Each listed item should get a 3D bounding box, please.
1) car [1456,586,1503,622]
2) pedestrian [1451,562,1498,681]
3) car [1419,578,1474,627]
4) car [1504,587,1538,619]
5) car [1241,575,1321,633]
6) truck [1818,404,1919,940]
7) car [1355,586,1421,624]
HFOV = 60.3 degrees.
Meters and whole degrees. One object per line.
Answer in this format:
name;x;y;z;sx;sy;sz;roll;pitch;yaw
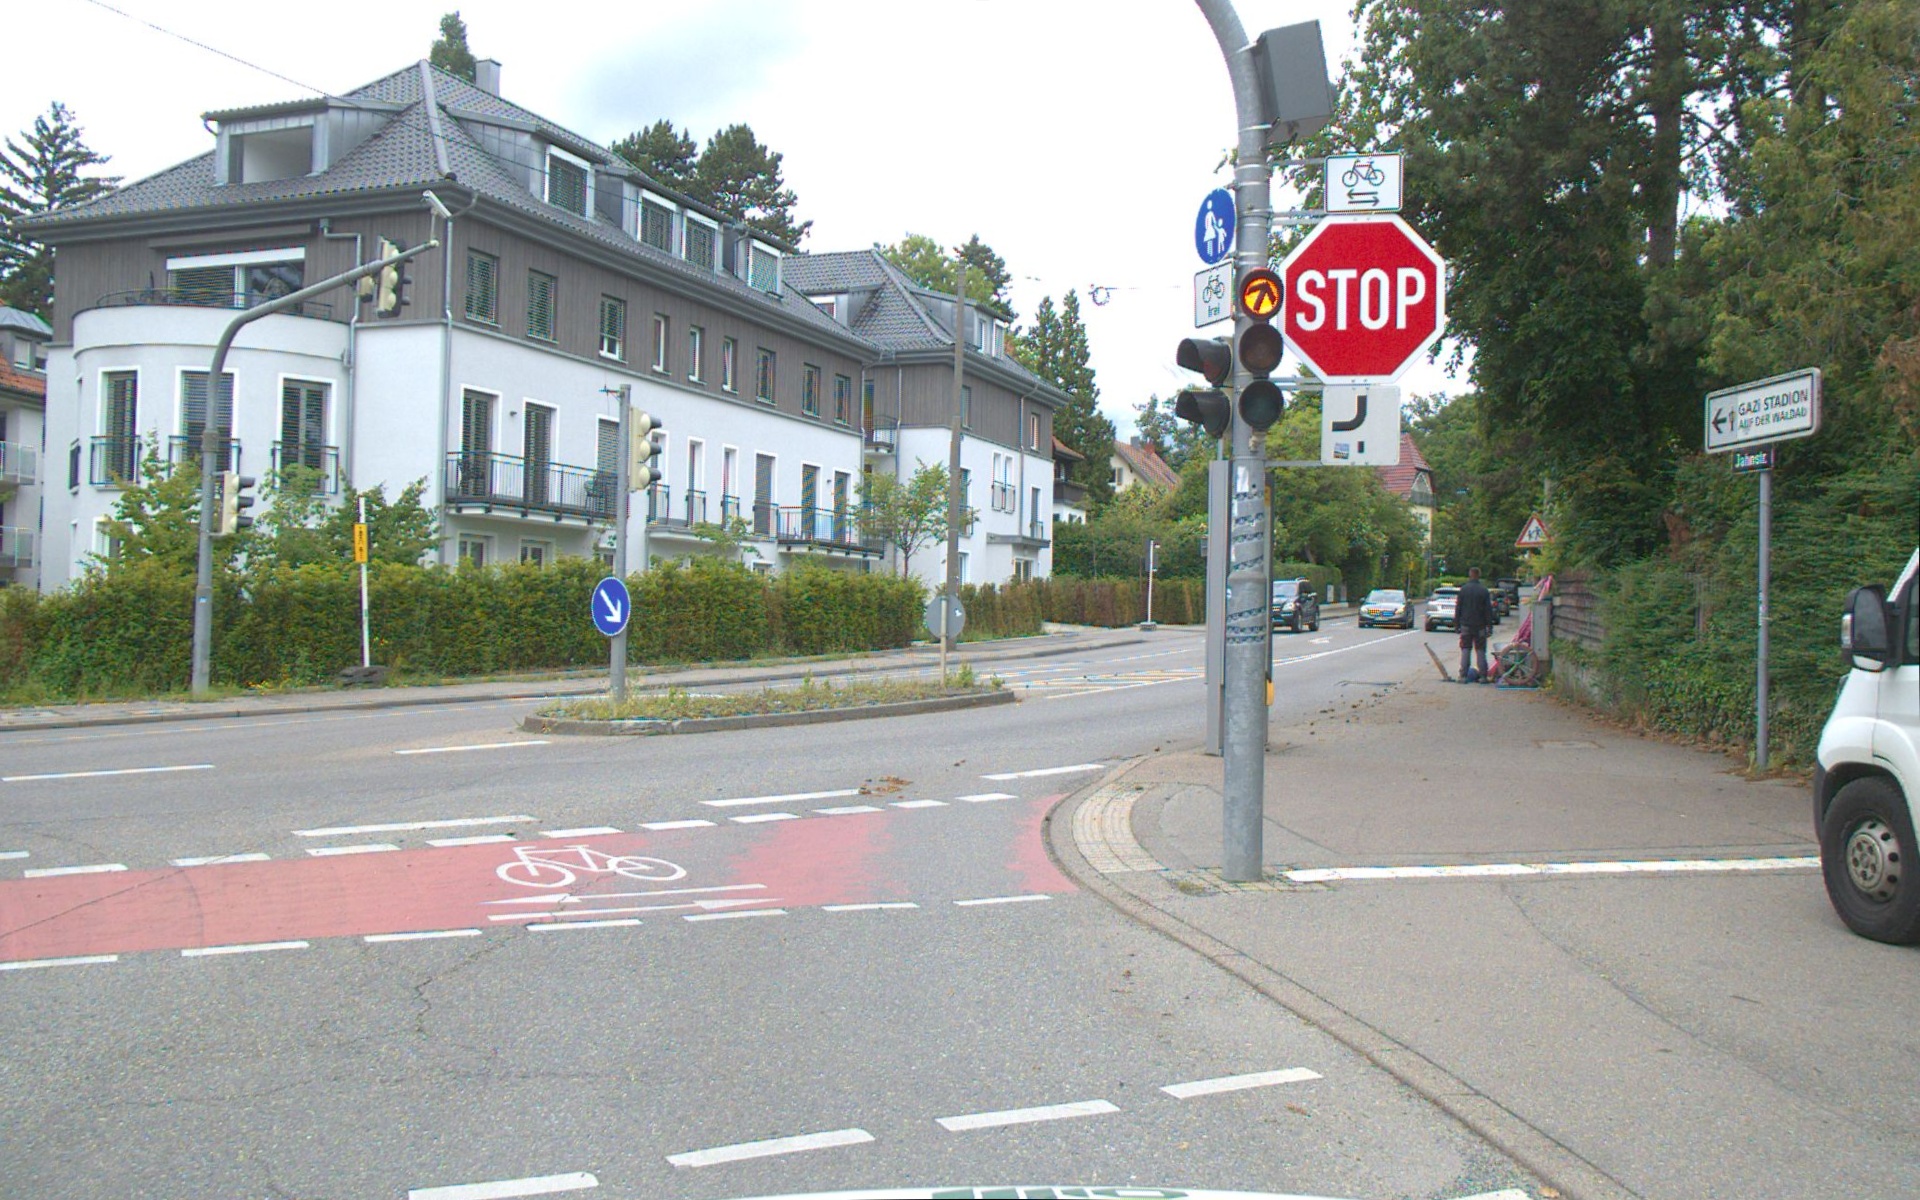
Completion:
car;23.773;0.173;75.602;1.763;1.553;4.743;-1;0;21
pedestrian;8.540;0.358;27.484;0.584;1.940;0.558;1;0;0
car;18.478;0.098;62.748;1.770;1.784;4.488;-1;0;19
car;36.234;0.178;106.824;1.879;1.927;4.909;2;1;20
car;11.318;0.142;58.014;1.873;1.913;5.142;-1;-1;21
truck;5.136;0.320;5.025;2.162;2.283;5.724;1;0;1
car;16.757;0.172;64.589;1.899;1.428;4.742;1;1;22
